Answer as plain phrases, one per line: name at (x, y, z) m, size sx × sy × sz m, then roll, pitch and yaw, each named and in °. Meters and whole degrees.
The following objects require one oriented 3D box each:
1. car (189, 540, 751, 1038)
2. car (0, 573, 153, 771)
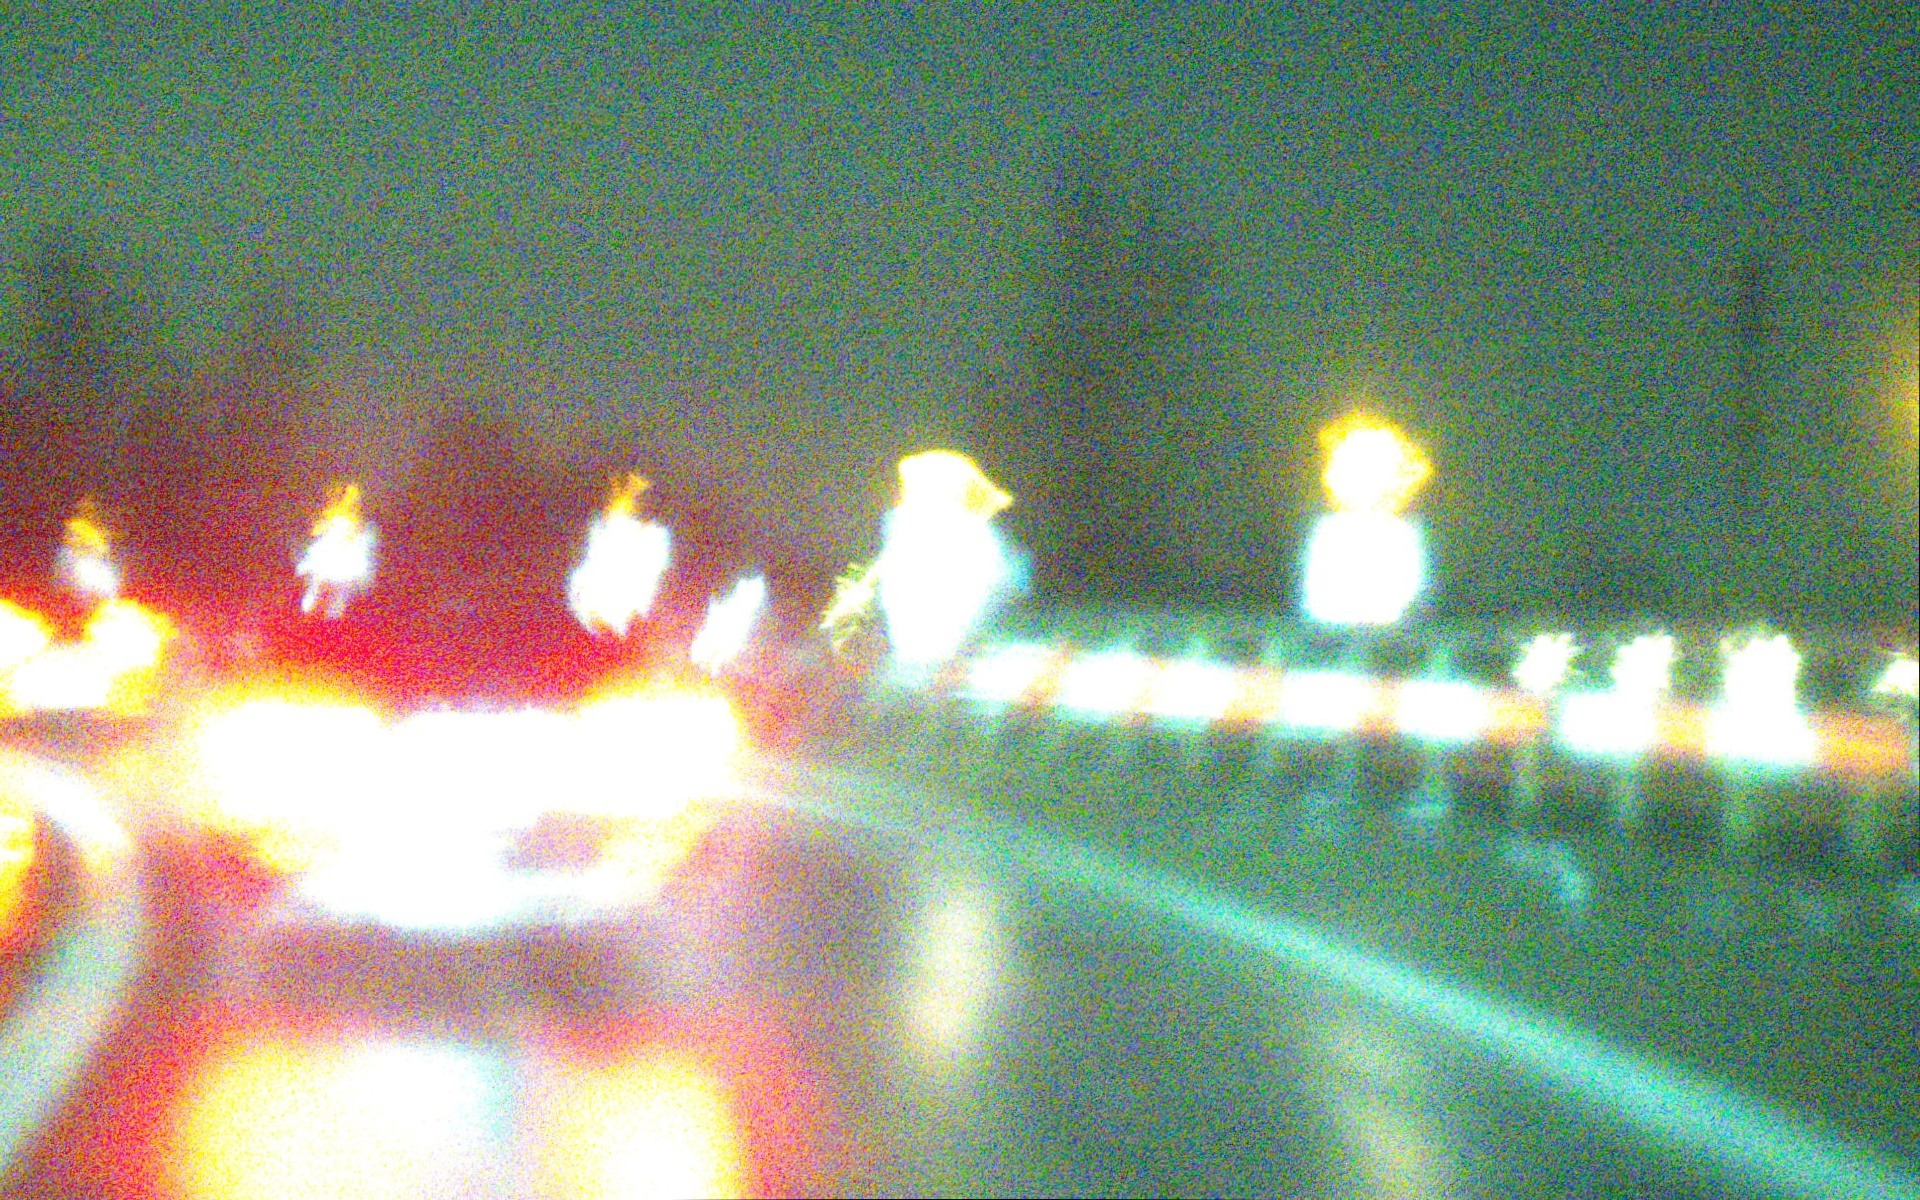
car at (-1.986, 0.614, 13.509) m, size 1.860 × 1.641 × 4.070 m, roll 0°, pitch 0°, yaw -10°
car at (-8.707, 0.634, 31.798) m, size 1.895 × 1.715 × 4.046 m, roll 1°, pitch 0°, yaw -21°
